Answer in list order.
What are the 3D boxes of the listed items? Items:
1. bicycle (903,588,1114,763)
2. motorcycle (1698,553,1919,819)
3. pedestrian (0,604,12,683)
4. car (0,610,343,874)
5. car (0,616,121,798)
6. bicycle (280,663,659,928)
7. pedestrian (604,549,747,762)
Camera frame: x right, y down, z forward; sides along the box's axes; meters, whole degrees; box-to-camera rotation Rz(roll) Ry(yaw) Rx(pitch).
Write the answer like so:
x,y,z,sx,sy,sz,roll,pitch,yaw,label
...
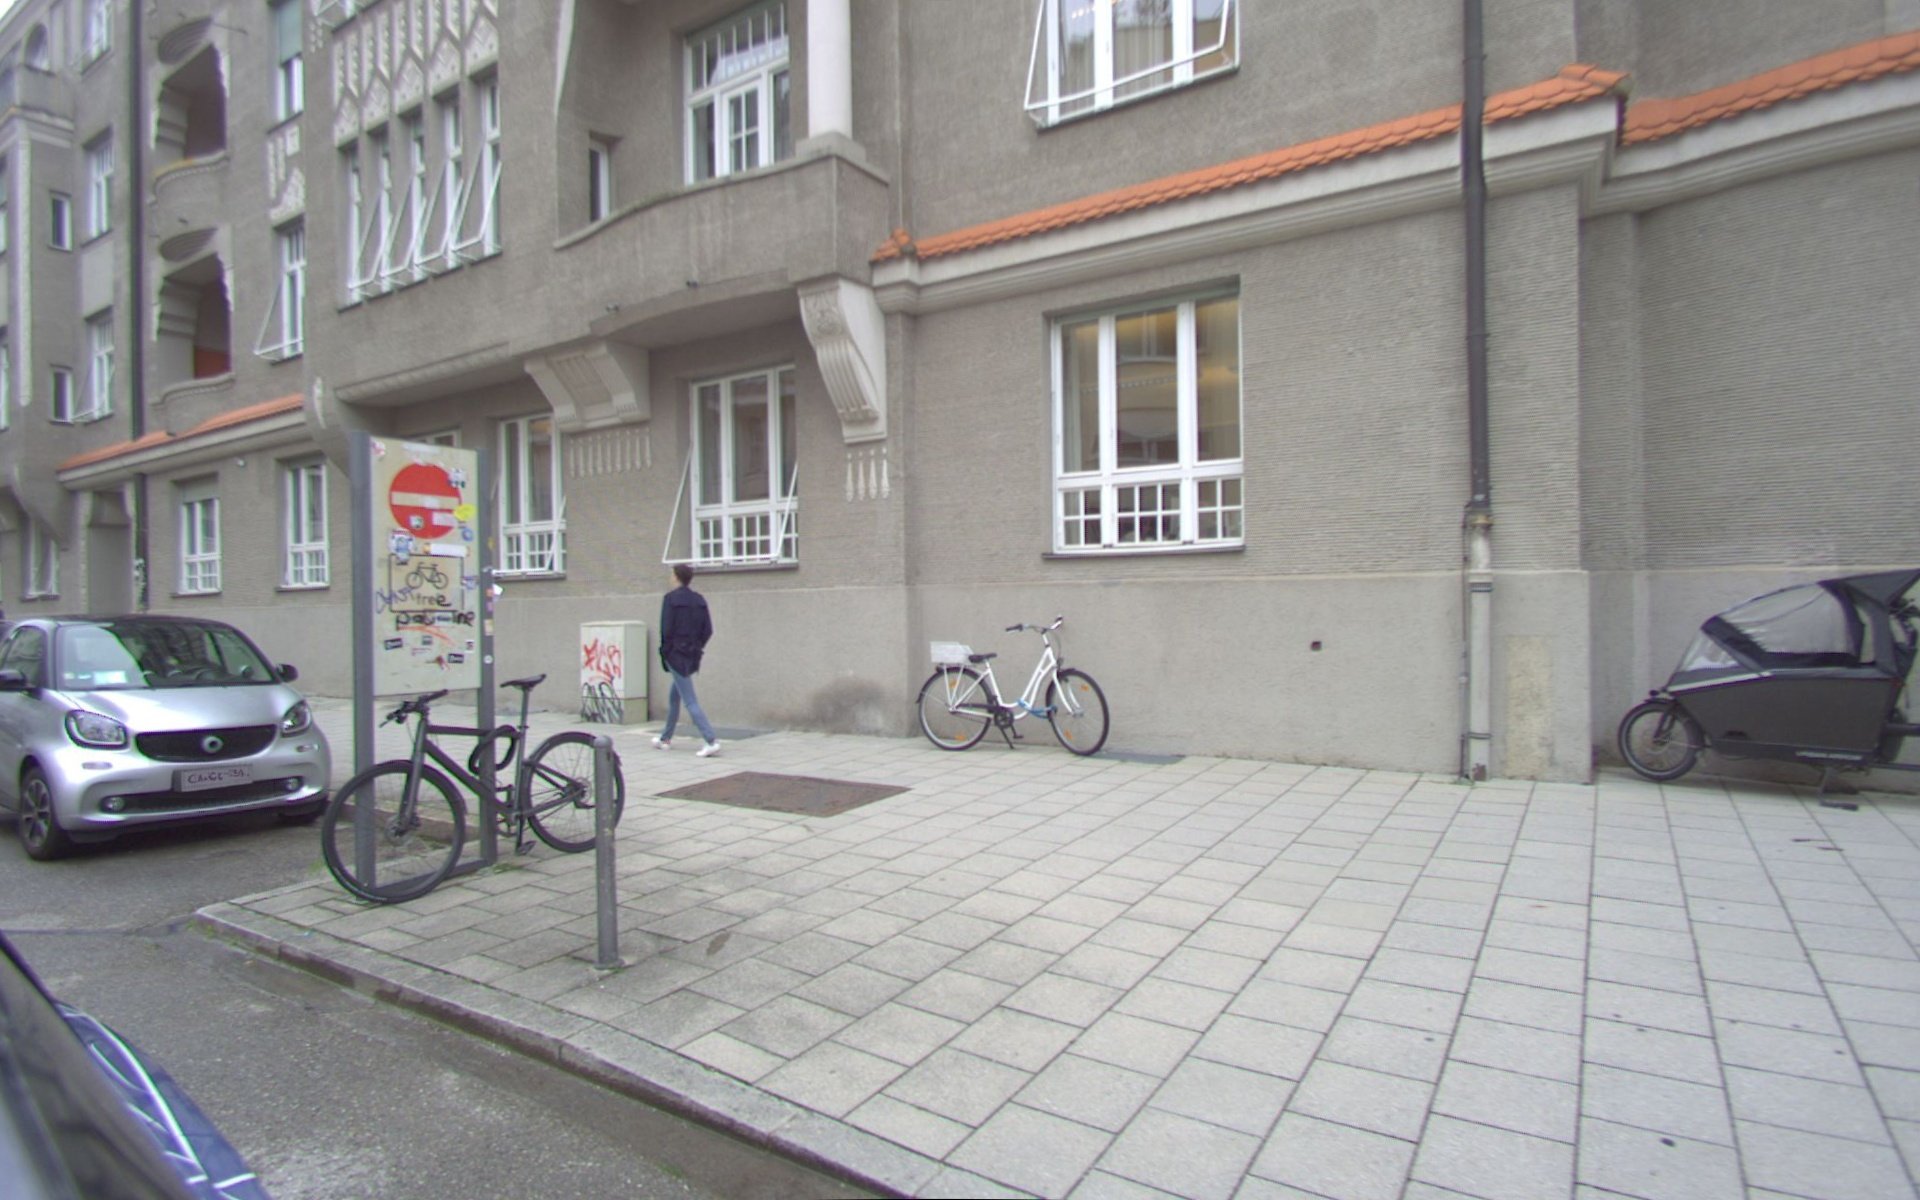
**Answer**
x,y,z,sx,sy,sz,roll,pitch,yaw,label
0.396,0.596,8.531,1.668,1.359,0.614,-1,0,29,bicycle
5.565,0.461,5.747,2.140,1.451,0.730,-1,0,32,motorcycle
-22.550,1.015,23.438,0.728,1.831,0.711,-1,0,33,pedestrian
-6.109,0.861,7.399,2.904,1.526,1.689,-1,-2,34,car
-10.060,0.949,9.828,4.695,1.526,1.741,-1,-1,35,car
-2.498,0.925,5.391,0.538,1.022,1.789,-1,1,32,bicycle
-2.576,0.472,9.185,0.934,1.800,0.831,-1,0,36,pedestrian
